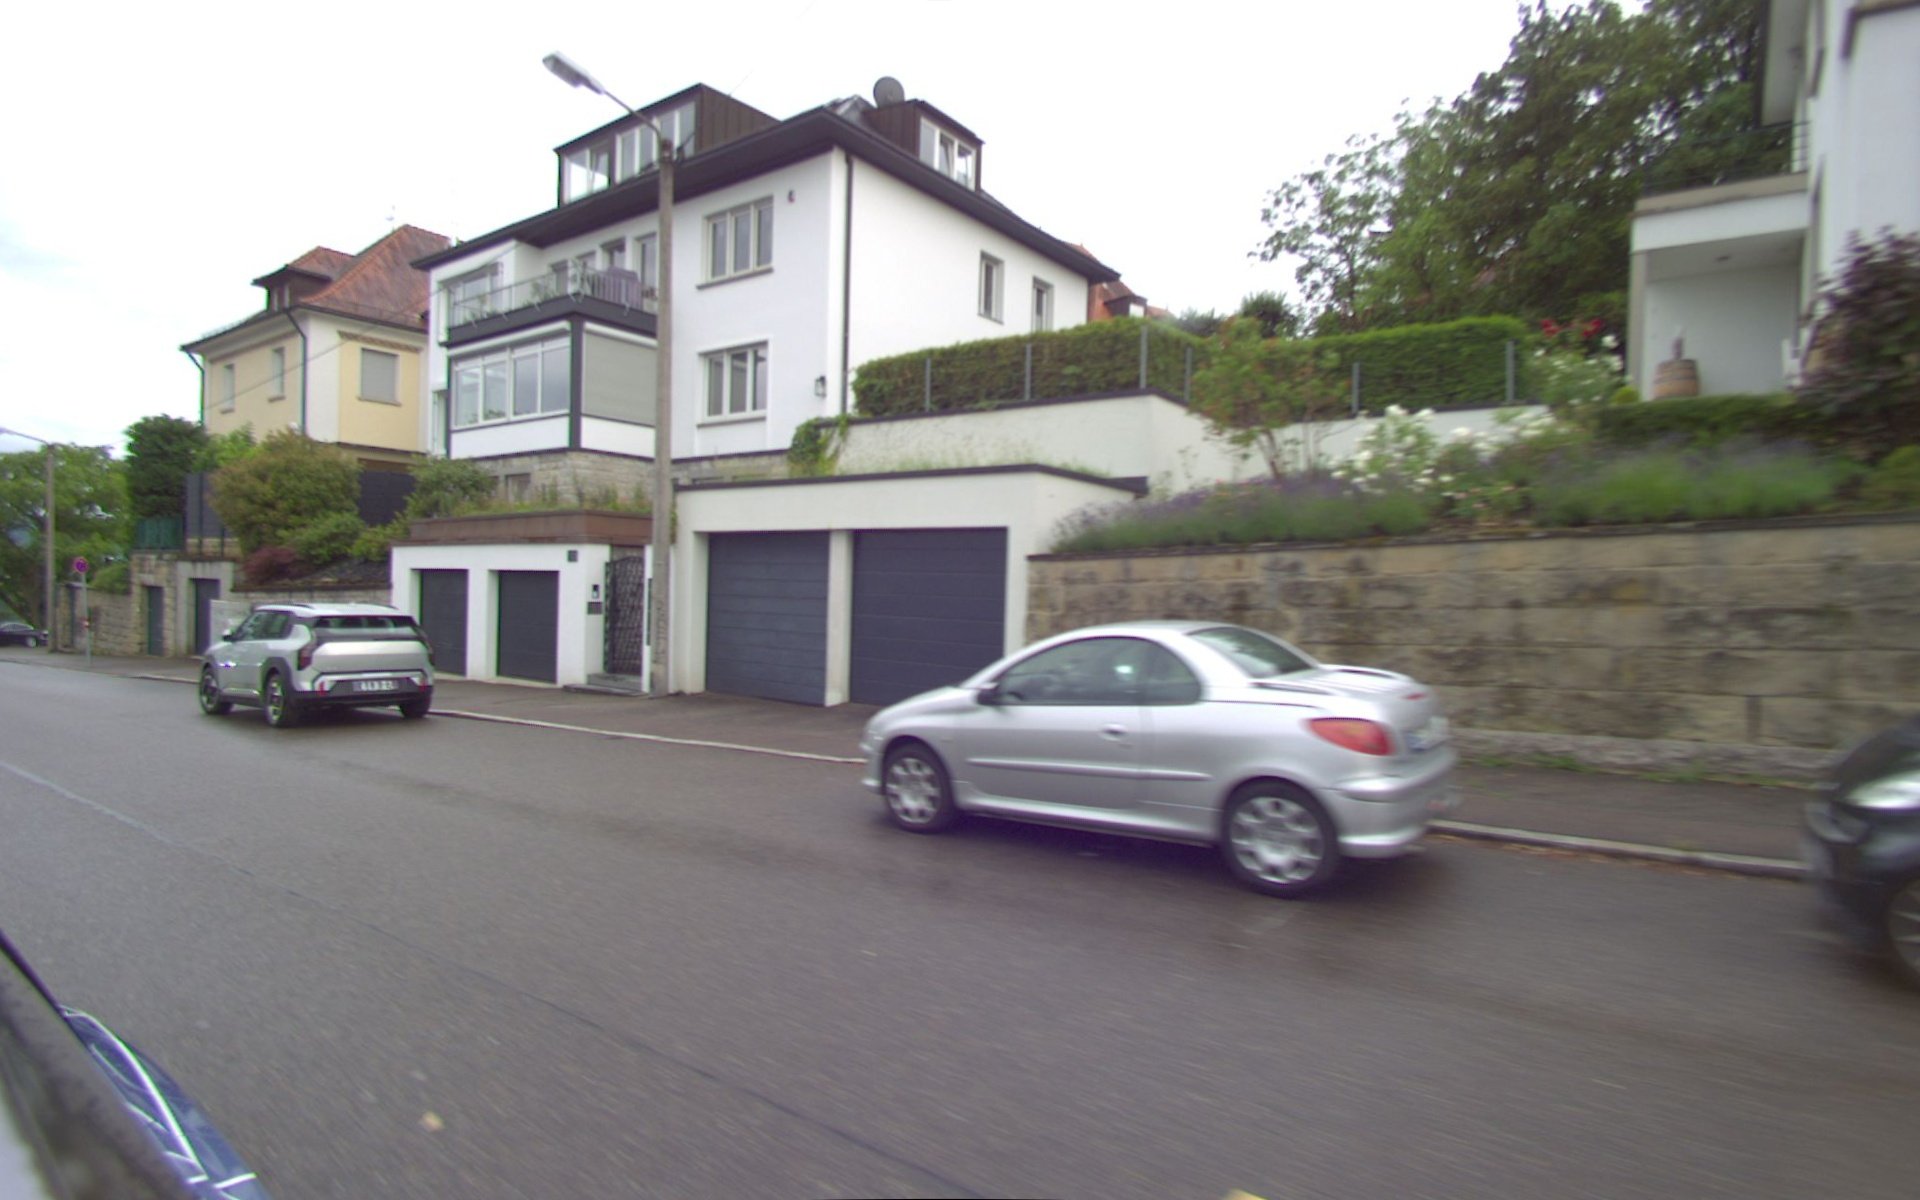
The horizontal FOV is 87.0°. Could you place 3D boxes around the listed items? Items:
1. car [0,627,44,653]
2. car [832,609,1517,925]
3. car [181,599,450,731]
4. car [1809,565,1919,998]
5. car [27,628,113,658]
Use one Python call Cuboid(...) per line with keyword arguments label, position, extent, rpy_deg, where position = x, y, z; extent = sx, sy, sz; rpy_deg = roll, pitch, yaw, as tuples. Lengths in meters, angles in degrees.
Cuboid(label="car", position=(-58.521, 2.403, 61.212), extent=(1.839, 1.554, 4.896), rpy_deg=(2, -3, -2))
Cuboid(label="car", position=(1.139, 0.773, 6.262), extent=(3.835, 1.348, 1.594), rpy_deg=(-1, 0, 38))
Cuboid(label="car", position=(-9.074, 0.828, 14.137), extent=(4.232, 1.579, 1.880), rpy_deg=(-1, -2, 38))
Cuboid(label="car", position=(5.017, 0.619, 3.384), extent=(3.151, 1.535, 1.484), rpy_deg=(-1, -1, 34))
Cuboid(label="car", position=(-58.710, 2.846, 66.878), extent=(1.727, 1.835, 4.423), rpy_deg=(2, -3, -1))
